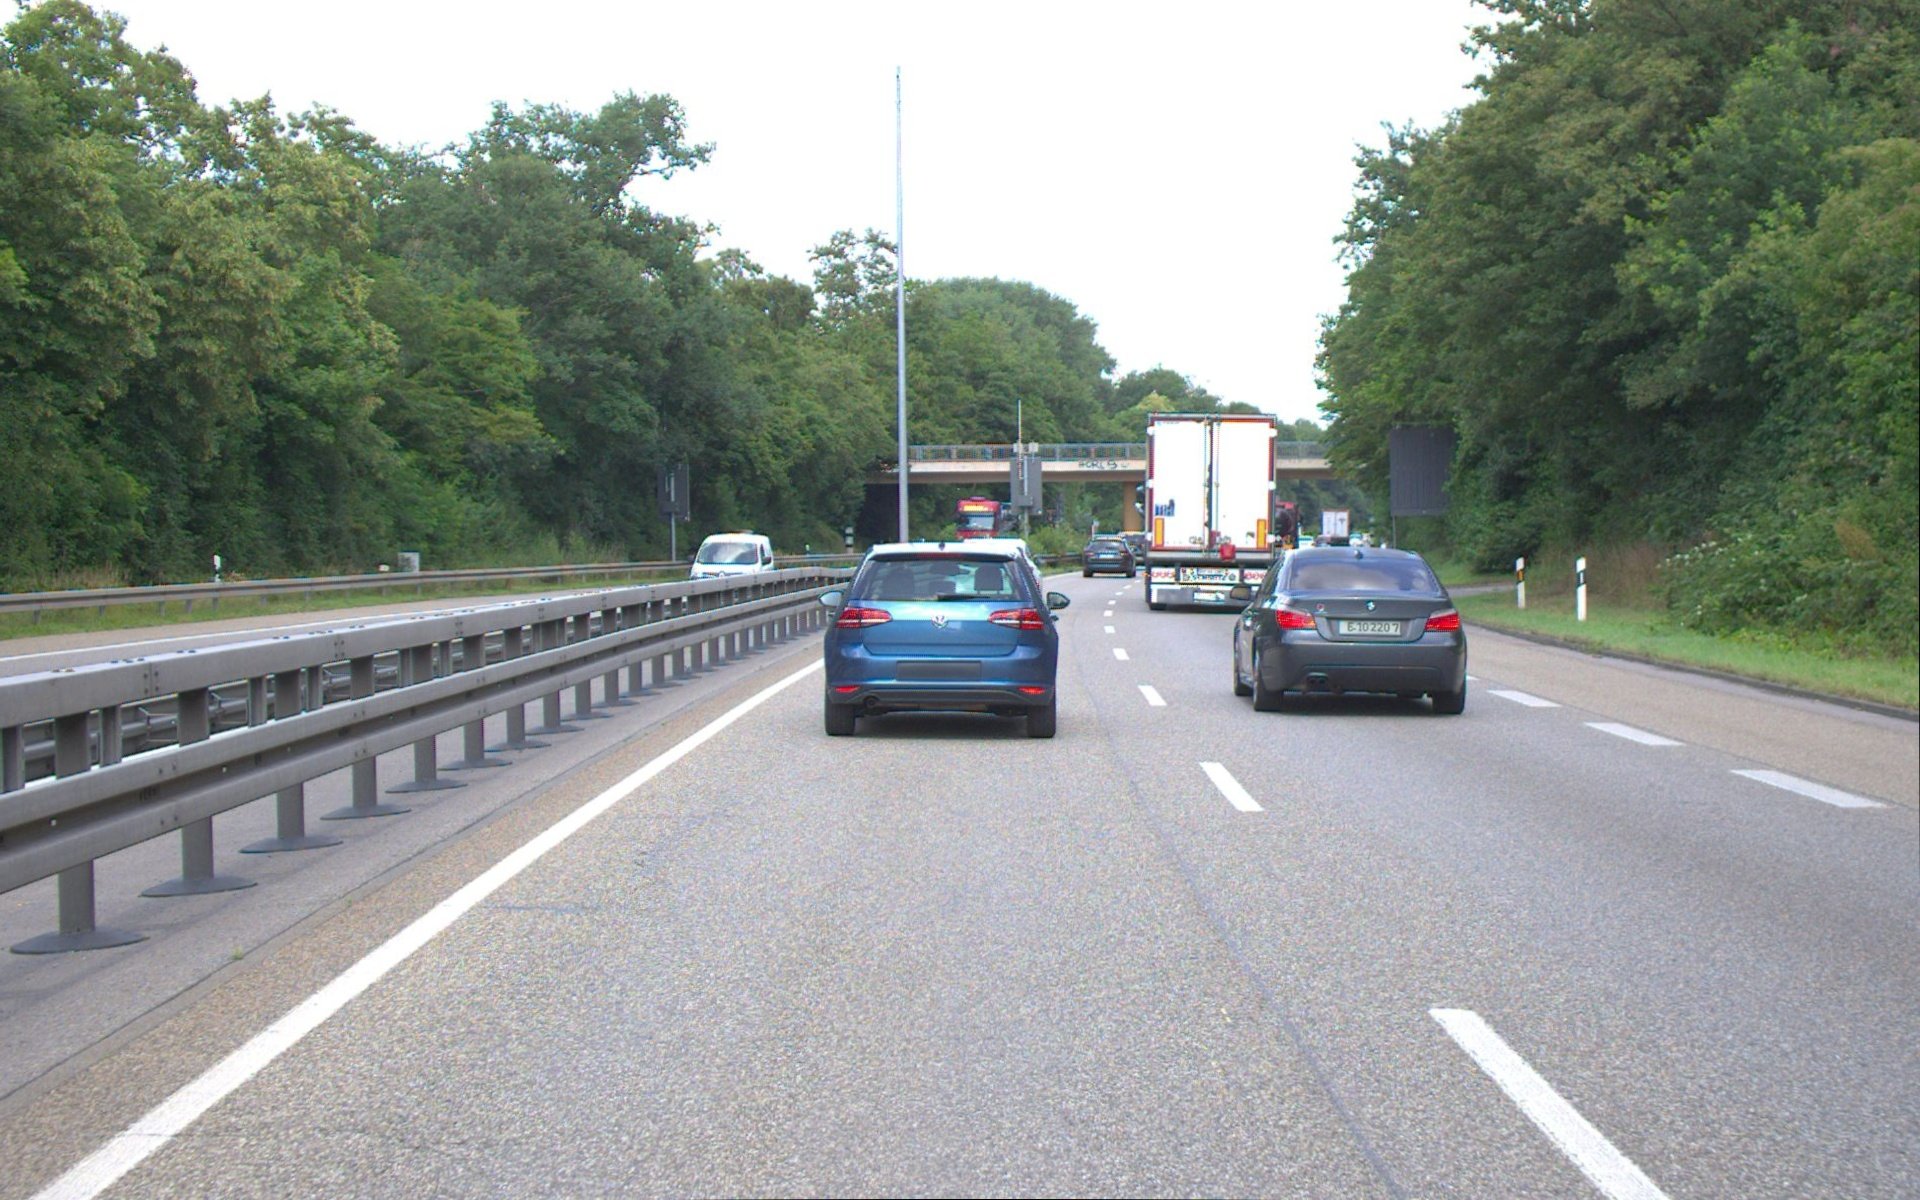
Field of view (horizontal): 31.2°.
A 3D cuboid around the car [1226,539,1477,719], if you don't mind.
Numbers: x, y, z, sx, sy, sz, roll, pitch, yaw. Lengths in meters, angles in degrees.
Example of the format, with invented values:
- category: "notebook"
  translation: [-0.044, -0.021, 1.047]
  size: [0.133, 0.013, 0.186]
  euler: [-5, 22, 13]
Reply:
- category: "car"
  translation: [3.479, 0.198, 31.326]
  size: [1.774, 1.470, 4.880]
  euler: [1, 1, 1]

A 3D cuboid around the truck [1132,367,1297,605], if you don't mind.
- category: "truck"
  translation: [5.449, -2.371, 73.823]
  size: [3.242, 4.700, 11.005]
  euler: [0, 1, 4]

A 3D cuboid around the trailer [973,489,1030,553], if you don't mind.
- category: "trailer"
  translation: [2.620, -4.853, 213.482]
  size: [2.938, 3.820, 10.309]
  euler: [-1, 1, 3]

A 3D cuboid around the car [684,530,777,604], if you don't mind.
- category: "car"
  translation: [-5.784, -0.860, 87.117]
  size: [1.844, 1.812, 5.478]
  euler: [0, 1, 1]

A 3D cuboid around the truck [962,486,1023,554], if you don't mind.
- category: "truck"
  translation: [1.973, -4.703, 203.143]
  size: [2.955, 3.842, 10.322]
  euler: [-1, 1, 4]

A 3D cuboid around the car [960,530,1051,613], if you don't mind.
- category: "car"
  translation: [0.883, -0.567, 65.374]
  size: [1.665, 1.495, 4.152]
  euler: [1, 1, 1]

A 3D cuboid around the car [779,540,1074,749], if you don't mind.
- category: "car"
  translation: [-0.182, 0.283, 26.775]
  size: [1.705, 1.465, 3.999]
  euler: [1, 1, 8]

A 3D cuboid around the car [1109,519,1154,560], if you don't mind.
- category: "car"
  translation: [7.614, -2.690, 152.173]
  size: [1.767, 1.766, 4.023]
  euler: [0, 1, 6]

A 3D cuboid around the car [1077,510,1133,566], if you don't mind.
- category: "car"
  translation: [5.322, -2.261, 125.933]
  size: [1.954, 2.007, 4.000]
  euler: [0, 1, 4]
